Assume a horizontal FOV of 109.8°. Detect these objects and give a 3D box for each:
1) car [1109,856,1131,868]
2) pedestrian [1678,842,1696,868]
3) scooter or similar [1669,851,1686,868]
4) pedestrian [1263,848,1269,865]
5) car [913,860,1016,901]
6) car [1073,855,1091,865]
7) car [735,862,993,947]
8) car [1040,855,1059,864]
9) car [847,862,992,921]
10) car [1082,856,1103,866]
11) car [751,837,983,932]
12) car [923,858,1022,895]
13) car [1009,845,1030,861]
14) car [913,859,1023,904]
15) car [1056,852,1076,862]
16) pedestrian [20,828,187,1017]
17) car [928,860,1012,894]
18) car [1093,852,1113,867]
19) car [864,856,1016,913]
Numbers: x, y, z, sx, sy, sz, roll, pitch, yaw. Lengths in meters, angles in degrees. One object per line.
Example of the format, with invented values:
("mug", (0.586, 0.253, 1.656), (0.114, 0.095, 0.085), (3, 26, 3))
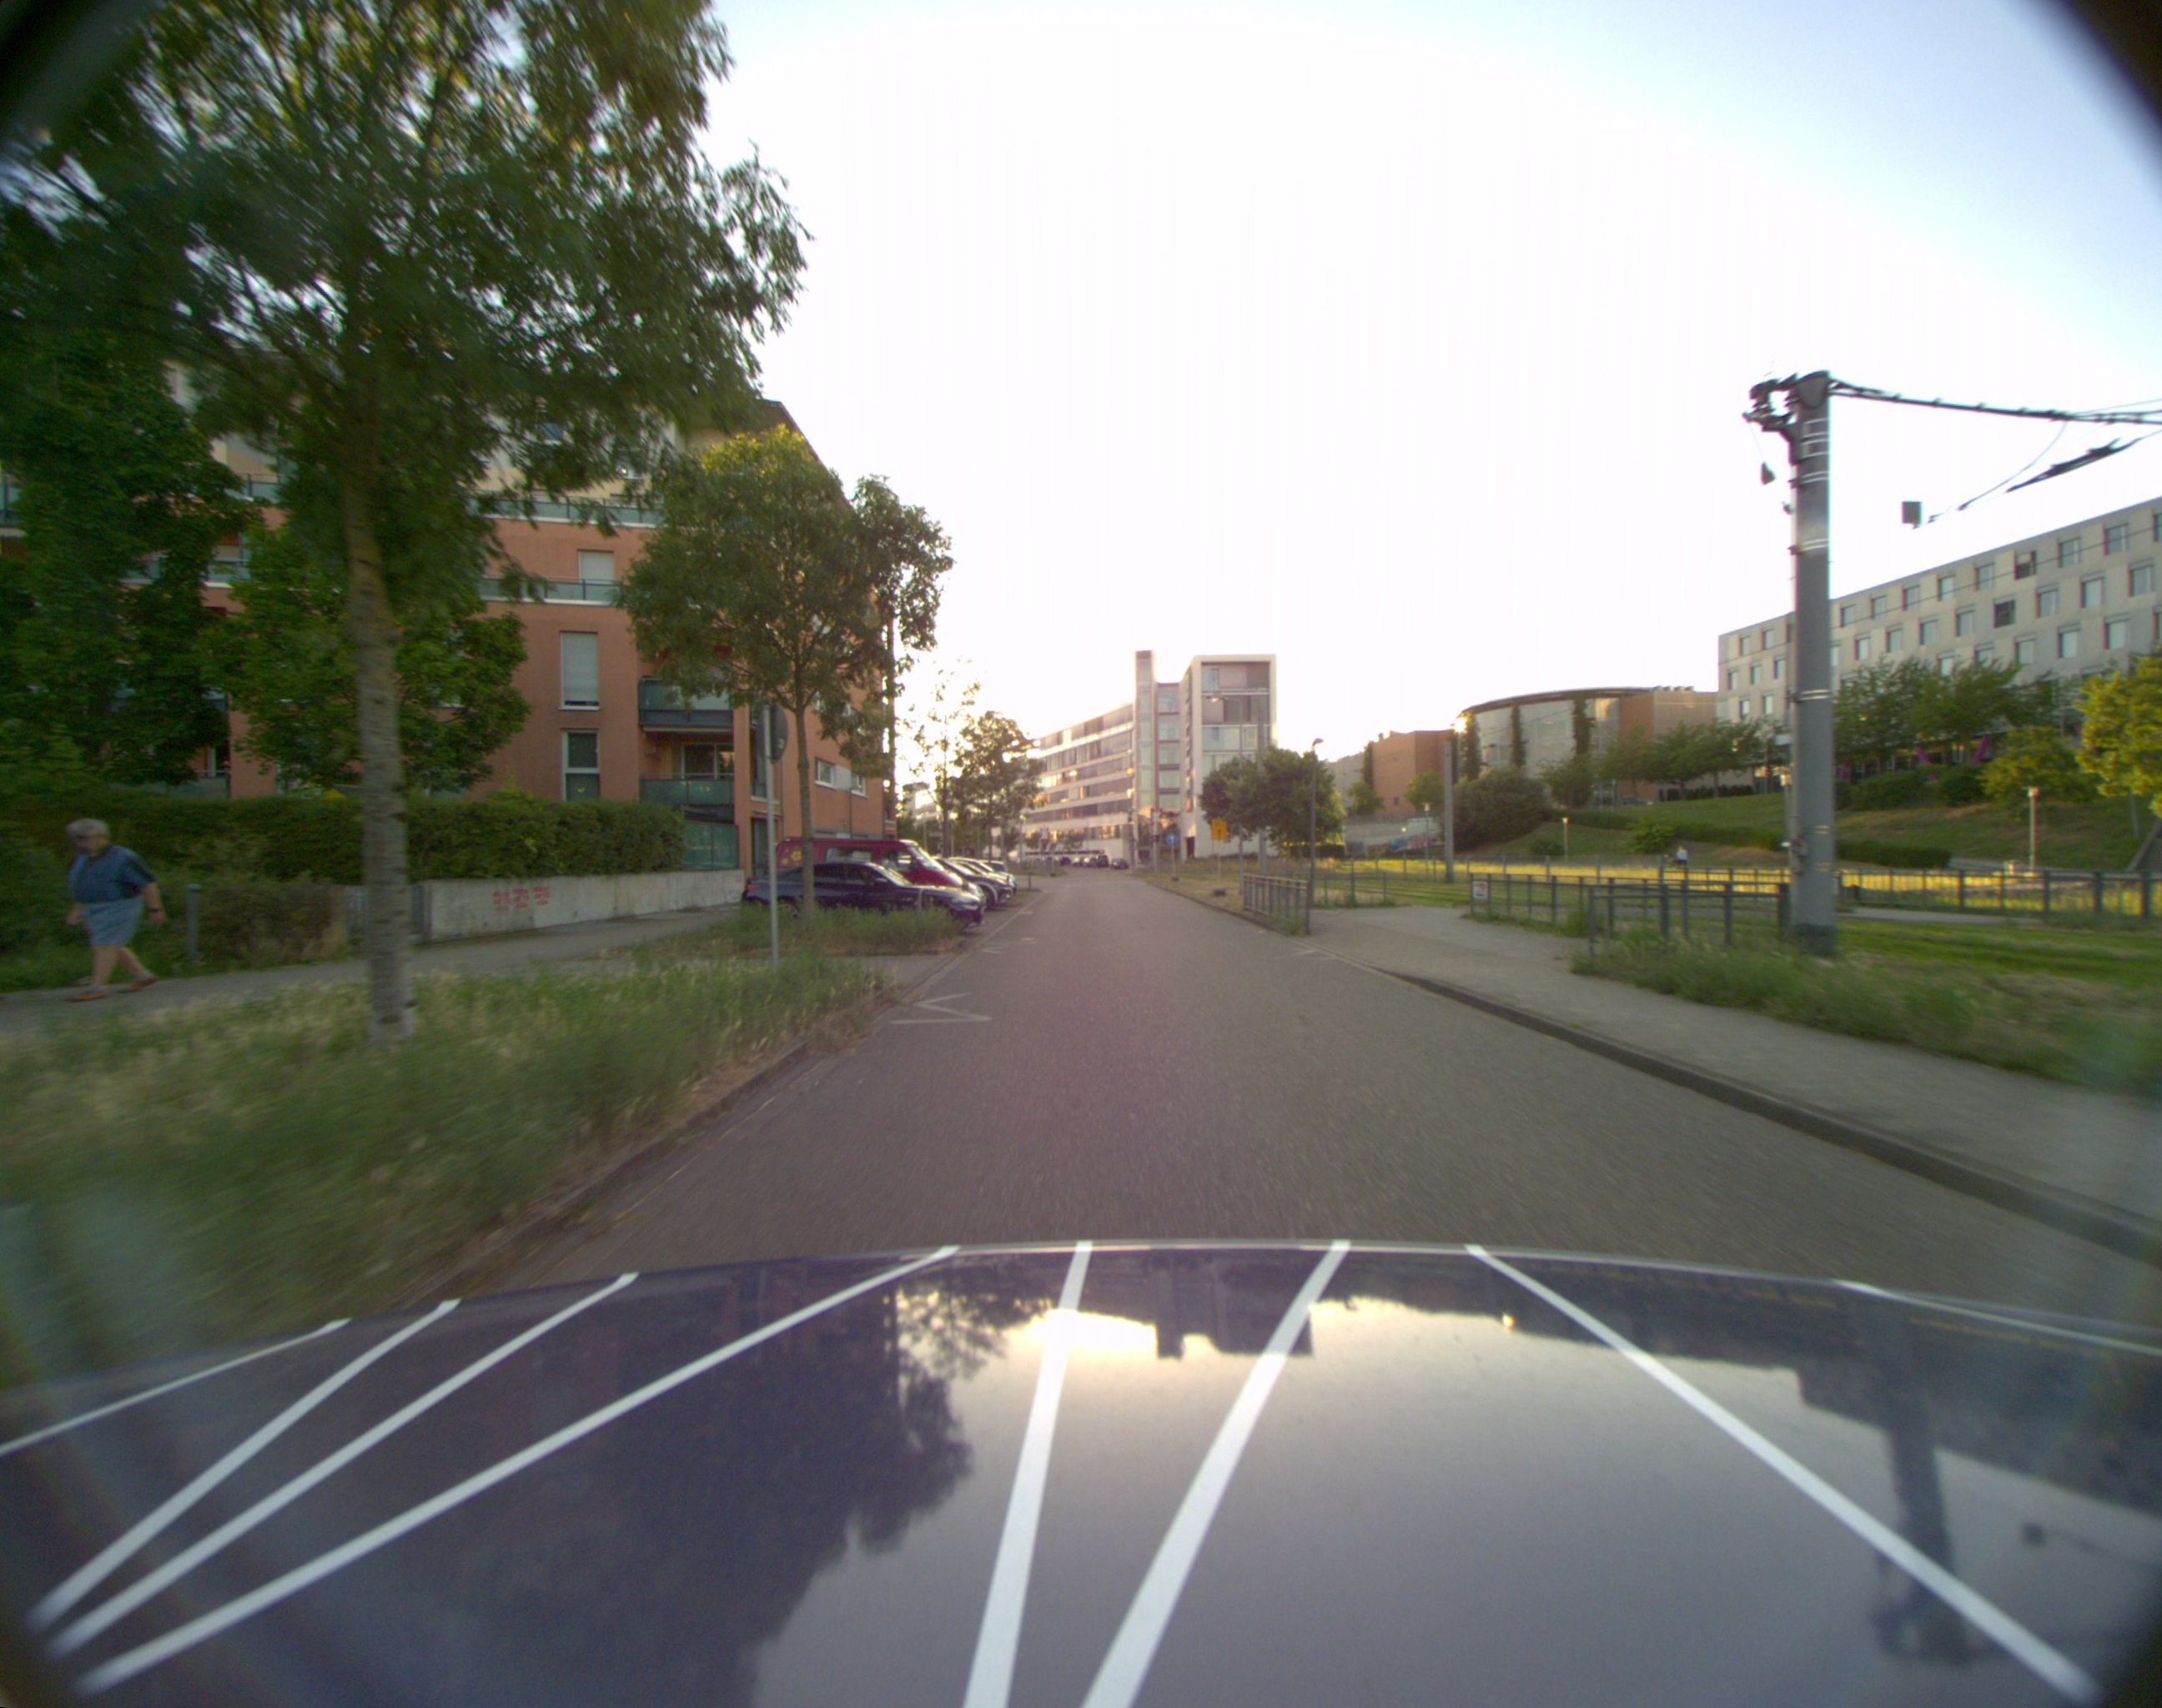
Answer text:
("car", (4.934, 0.984, 96.774), (1.858, 1.433, 4.225), (-3, 0, -9))
("pedestrian", (43.515, 0.063, 54.595), (0.618, 1.826, 0.790), (-3, 1, -1))
("scooter or similar", (43.580, 0.405, 55.526), (0.618, 1.237, 0.790), (-3, 1, -1))
("pedestrian", (20.463, 0.277, 84.043), (0.450, 1.826, 0.483), (-3, 1, -20))
("car", (-4.651, 1.037, 30.699), (3.886, 1.560, 1.620), (-1, 0, 0))
("car", (0.181, 0.977, 116.937), (1.655, 1.468, 3.760), (-1, 0, -19))
("car", (-4.234, 0.980, 15.386), (4.681, 1.547, 1.811), (-1, 0, 0))
("car", (-5.425, 0.962, 130.954), (1.800, 1.542, 3.991), (-3, 1, -28))
("car", (-4.289, 0.976, 20.506), (3.534, 1.456, 1.615), (1, 0, 0))
("car", (1.705, 1.032, 112.203), (1.867, 1.468, 4.514), (-3, 1, -16))
("car", (-4.994, 0.704, 18.244), (4.932, 2.105, 2.017), (-1, 0, 2))
("car", (-4.683, 0.959, 33.225), (4.060, 1.560, 1.673), (1, 0, 0))
("car", (-11.724, -0.121, 143.746), (2.008, 2.859, 6.242), (0, 0, -24))
("car", (-4.112, 0.992, 28.053), (3.783, 1.487, 1.538), (-1, 2, 0))
("car", (-2.497, 0.500, 125.069), (1.800, 1.676, 3.991), (-1, 0, -28))
("pedestrian", (-9.425, 0.635, 7.354), (0.670, 1.733, 0.699), (-1, 0, 0))
("car", (-5.154, 1.061, 35.707), (3.760, 1.465, 1.612), (-1, 0, -4))
("car", (3.084, 0.717, 107.467), (1.895, 1.961, 4.513), (-3, 0, -10))
("car", (-4.182, 0.882, 22.983), (4.226, 1.560, 1.792), (1, 0, 0))
